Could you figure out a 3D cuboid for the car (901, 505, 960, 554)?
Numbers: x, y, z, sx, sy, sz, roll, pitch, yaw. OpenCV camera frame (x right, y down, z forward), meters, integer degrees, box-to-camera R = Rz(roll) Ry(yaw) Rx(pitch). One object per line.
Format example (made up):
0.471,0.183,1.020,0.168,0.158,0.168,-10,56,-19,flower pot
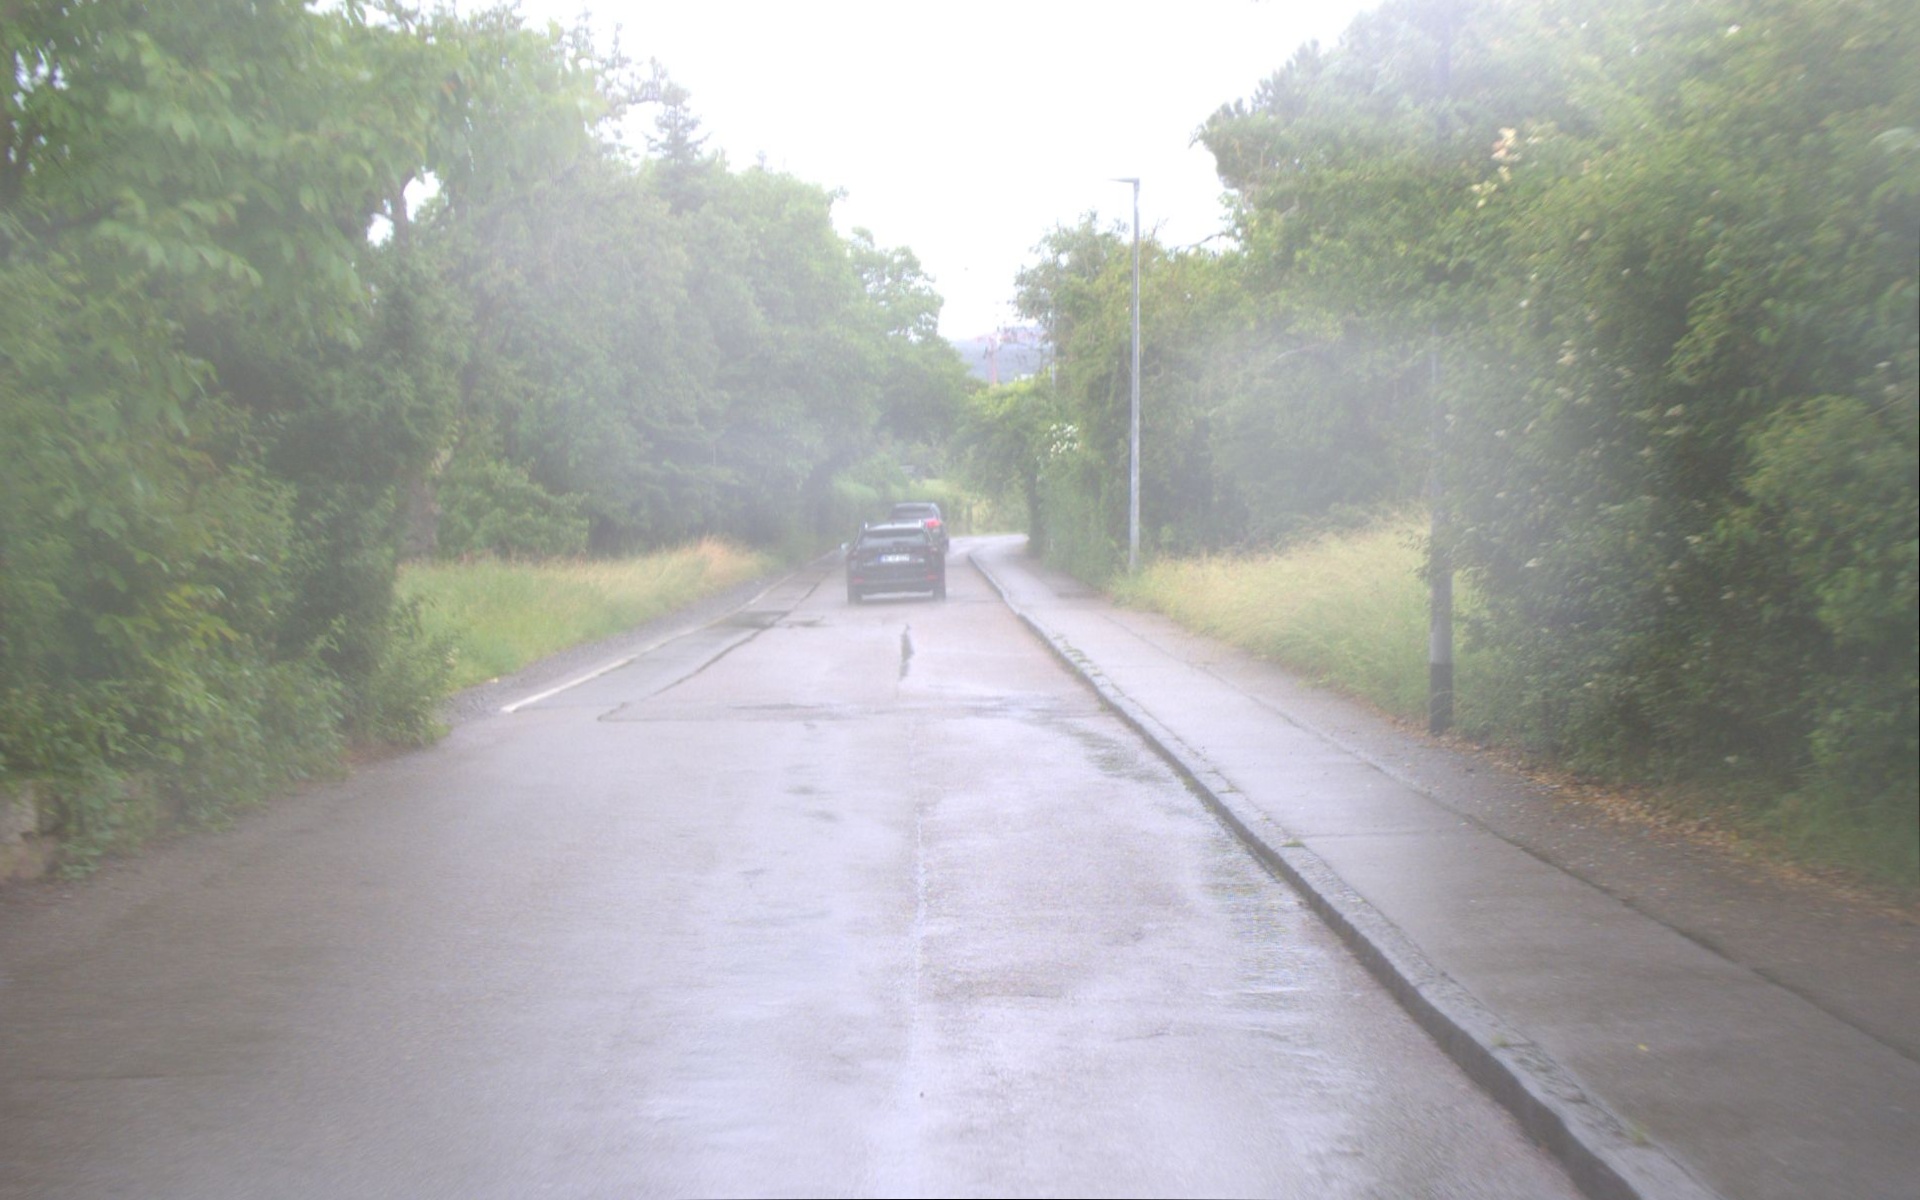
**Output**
-0.865,-2.103,103.345,1.635,1.409,3.544,0,0,2,car

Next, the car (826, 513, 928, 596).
-1.467,-0.797,61.856,1.635,1.445,3.544,0,0,2,car
